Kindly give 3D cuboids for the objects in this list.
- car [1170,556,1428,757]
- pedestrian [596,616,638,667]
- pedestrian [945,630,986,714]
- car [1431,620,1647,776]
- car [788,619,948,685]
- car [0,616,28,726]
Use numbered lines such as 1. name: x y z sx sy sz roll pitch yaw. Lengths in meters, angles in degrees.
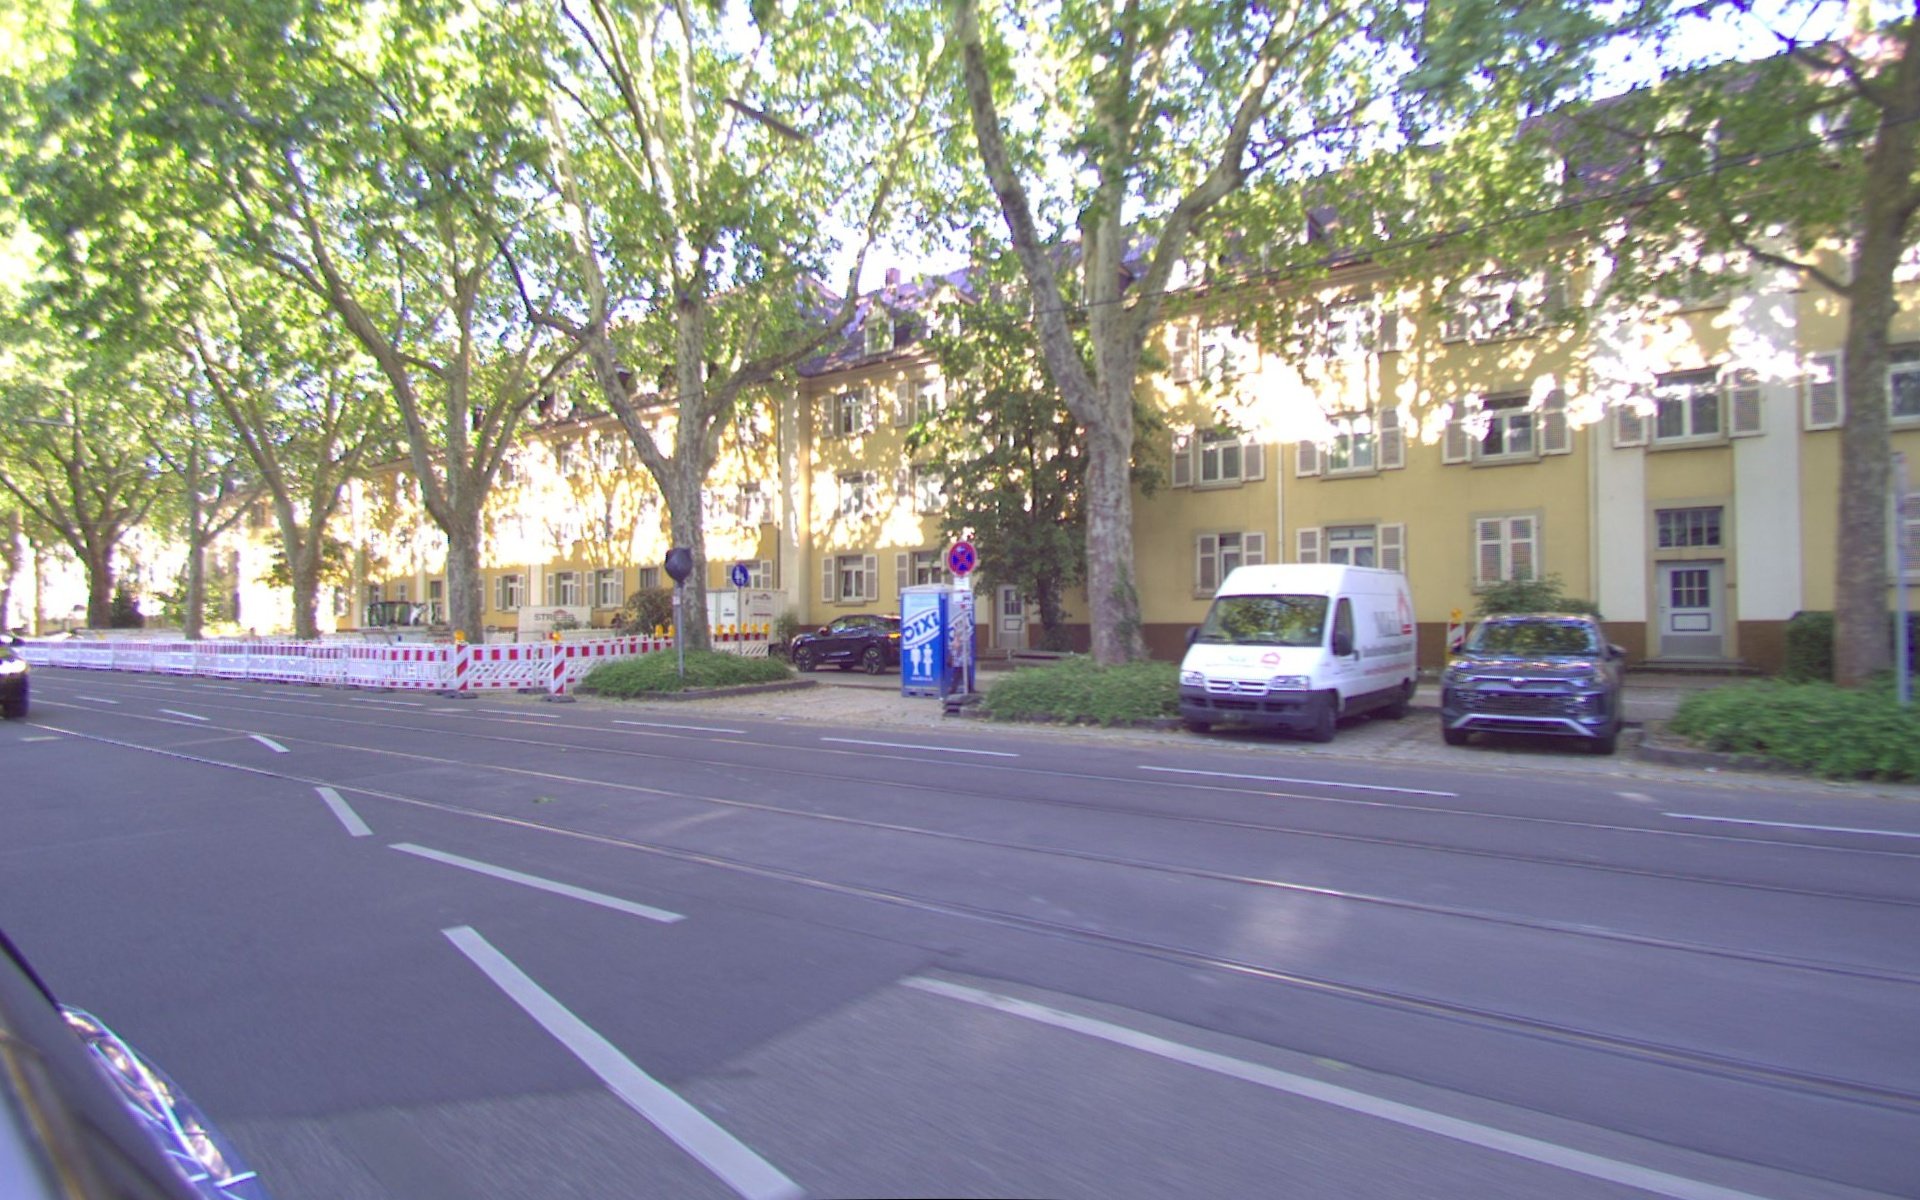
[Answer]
1. car: 5.199 0.777 14.920 2.021 2.394 5.547 -2 -3 36
2. pedestrian: -13.846 1.672 40.871 1.232 2.029 1.086 -1 -3 34
3. pedestrian: 0.105 1.367 19.440 0.709 1.585 0.595 -1 -2 9
4. car: 7.622 1.105 13.092 1.966 1.643 4.523 -2 -2 35
5. car: -2.544 1.361 27.441 4.216 1.613 1.807 -2 -1 39
6. car: -17.480 1.193 17.154 4.471 1.756 1.918 -2 -2 40
